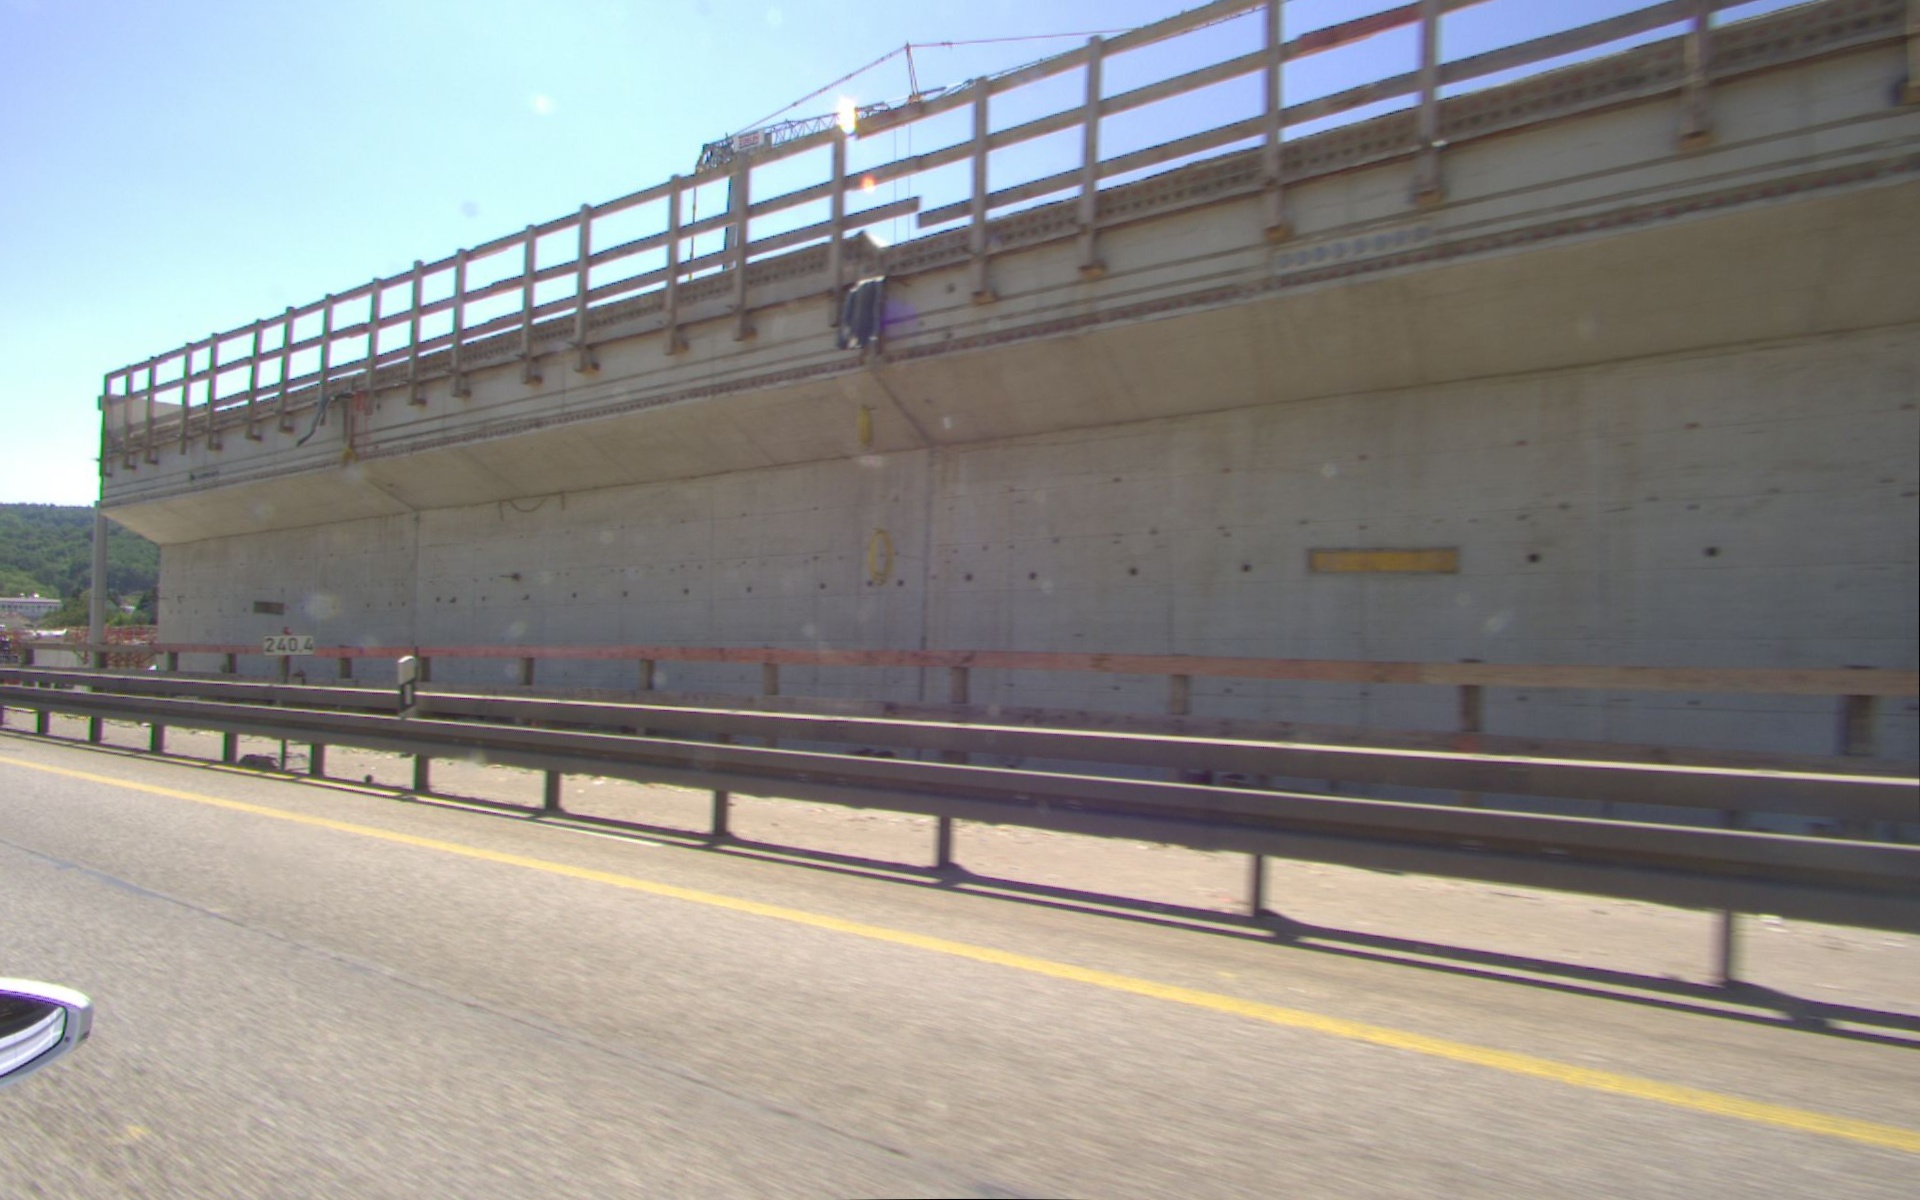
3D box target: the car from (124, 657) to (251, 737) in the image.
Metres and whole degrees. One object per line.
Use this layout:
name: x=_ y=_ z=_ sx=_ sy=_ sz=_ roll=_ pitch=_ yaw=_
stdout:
car: x=-30.810 y=3.741 z=39.824 sx=6.931 sy=2.892 sz=2.139 roll=-2 pitch=-2 yaw=36

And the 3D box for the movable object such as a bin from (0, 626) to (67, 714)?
movable object such as a bin: x=-55.740 y=3.987 z=58.197 sx=9.518 sy=4.803 sz=3.222 roll=-2 pitch=-2 yaw=32
